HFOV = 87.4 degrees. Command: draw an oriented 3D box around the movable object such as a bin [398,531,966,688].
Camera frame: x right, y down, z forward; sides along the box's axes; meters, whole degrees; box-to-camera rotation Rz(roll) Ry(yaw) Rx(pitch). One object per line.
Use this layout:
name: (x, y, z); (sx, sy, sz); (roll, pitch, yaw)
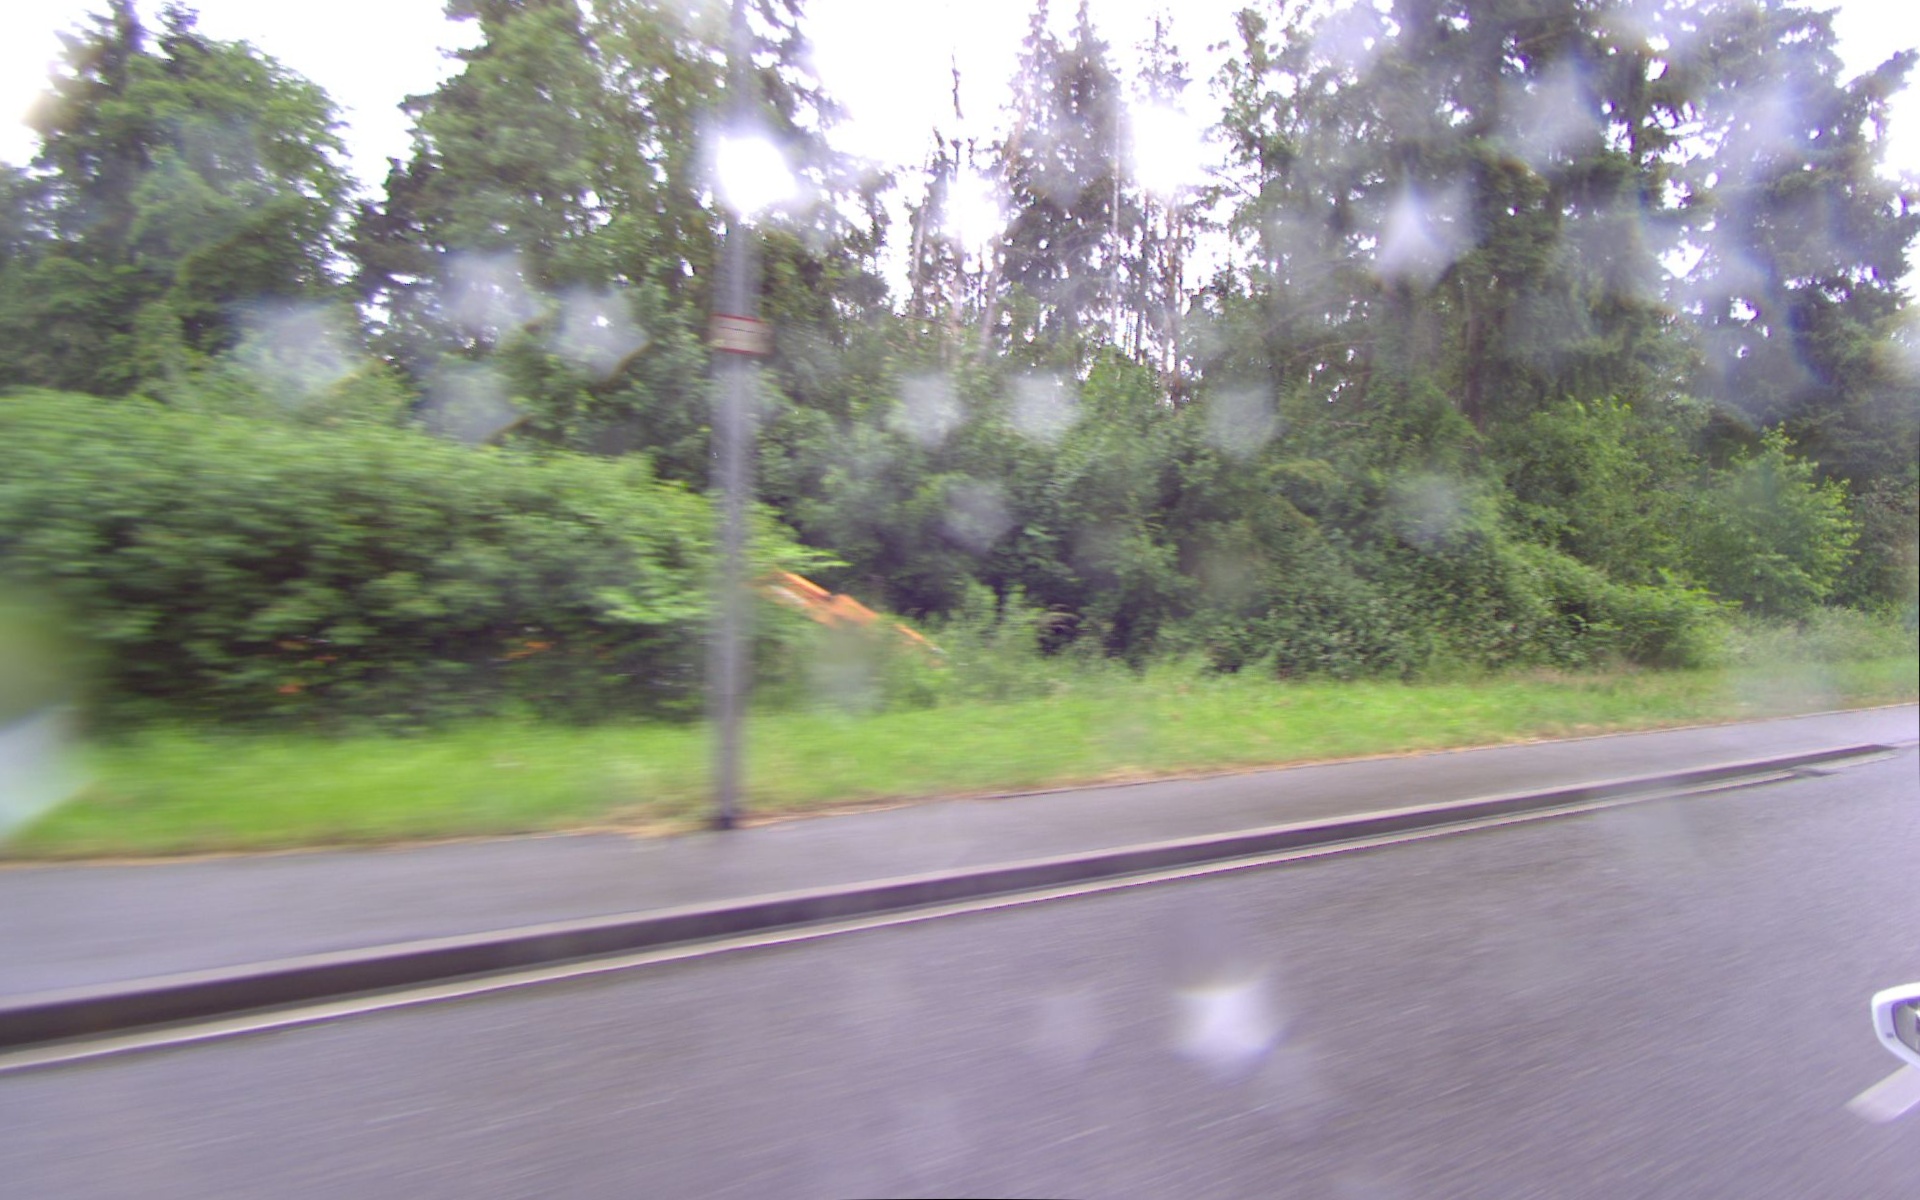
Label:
movable object such as a bin: (-3.809, 0.133, 14.715); (7.751, 1.933, 1.852); (2, 0, 0)
